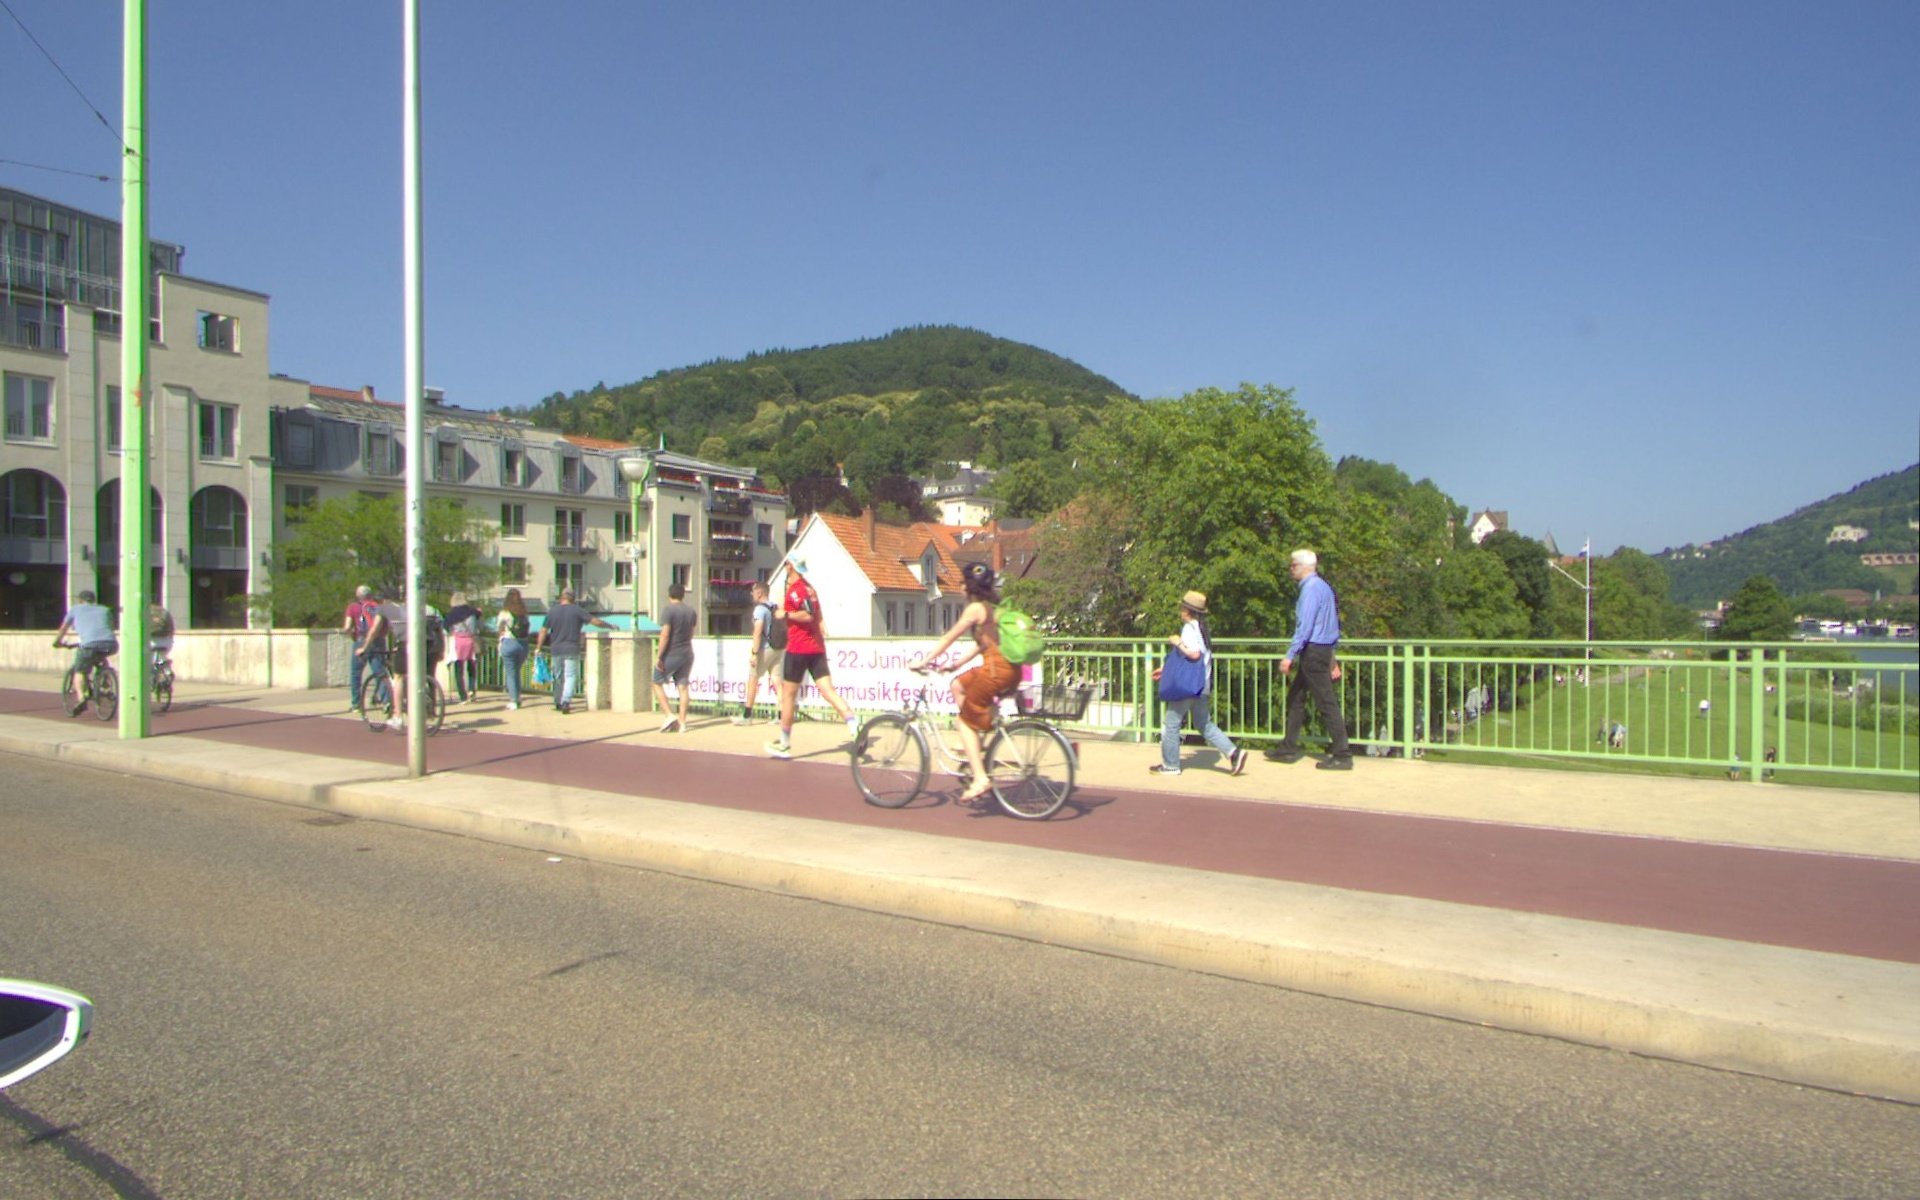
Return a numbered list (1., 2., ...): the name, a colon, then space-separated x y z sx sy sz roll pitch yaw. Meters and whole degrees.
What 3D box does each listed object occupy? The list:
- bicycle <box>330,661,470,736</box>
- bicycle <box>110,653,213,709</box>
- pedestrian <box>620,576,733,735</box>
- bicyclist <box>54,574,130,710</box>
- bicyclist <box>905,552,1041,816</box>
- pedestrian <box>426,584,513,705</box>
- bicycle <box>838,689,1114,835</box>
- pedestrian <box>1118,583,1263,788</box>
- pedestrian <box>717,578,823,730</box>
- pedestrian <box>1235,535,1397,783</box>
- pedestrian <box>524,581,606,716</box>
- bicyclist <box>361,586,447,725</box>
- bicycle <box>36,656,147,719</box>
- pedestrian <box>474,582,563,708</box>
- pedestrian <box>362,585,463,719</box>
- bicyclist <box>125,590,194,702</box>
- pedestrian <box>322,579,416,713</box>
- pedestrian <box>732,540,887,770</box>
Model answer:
1. bicycle: -6.651 1.141 11.862 1.804 0.776 0.593 -1 1 30
2. bicycle: -12.267 1.221 15.374 1.838 0.776 0.593 -1 1 30
3. pedestrian: -3.269 0.611 11.557 1.001 1.741 0.737 0 1 32
4. bicyclist: -12.171 0.574 14.042 0.691 1.844 0.586 0 1 30
5. bicyclist: 0.095 0.533 6.770 0.692 1.672 0.603 0 1 33
6. pedestrian: -7.566 0.658 15.451 1.001 1.801 0.737 0 1 32
7. bicycle: 0.077 1.045 6.800 1.840 0.776 0.592 -1 1 33
8. pedestrian: 1.884 0.645 8.143 0.919 1.550 0.827 0 1 32
9. pedestrian: -2.285 0.625 12.039 1.001 1.741 0.738 0 1 32
10. pedestrian: 3.019 0.466 8.468 1.121 1.923 0.924 0 1 32
11. pedestrian: -5.586 0.645 14.118 0.965 1.801 1.202 -2 1 -25
12. bicyclist: -6.543 0.632 11.783 0.691 1.579 0.586 0 1 30
13. bicycle: -12.217 1.210 14.079 1.838 0.776 0.593 -1 1 30
14. pedestrian: -6.472 0.640 14.685 1.001 1.770 0.737 0 1 32
15. pedestrian: -7.466 0.682 13.660 1.057 1.741 0.753 0 1 32
16. bicyclist: -12.278 0.694 15.364 0.691 1.672 0.586 0 1 30
17. pedestrian: -8.414 0.632 14.260 1.001 1.826 0.737 0 1 32
18. pedestrian: -1.366 0.473 9.134 1.111 1.950 0.809 0 1 32
